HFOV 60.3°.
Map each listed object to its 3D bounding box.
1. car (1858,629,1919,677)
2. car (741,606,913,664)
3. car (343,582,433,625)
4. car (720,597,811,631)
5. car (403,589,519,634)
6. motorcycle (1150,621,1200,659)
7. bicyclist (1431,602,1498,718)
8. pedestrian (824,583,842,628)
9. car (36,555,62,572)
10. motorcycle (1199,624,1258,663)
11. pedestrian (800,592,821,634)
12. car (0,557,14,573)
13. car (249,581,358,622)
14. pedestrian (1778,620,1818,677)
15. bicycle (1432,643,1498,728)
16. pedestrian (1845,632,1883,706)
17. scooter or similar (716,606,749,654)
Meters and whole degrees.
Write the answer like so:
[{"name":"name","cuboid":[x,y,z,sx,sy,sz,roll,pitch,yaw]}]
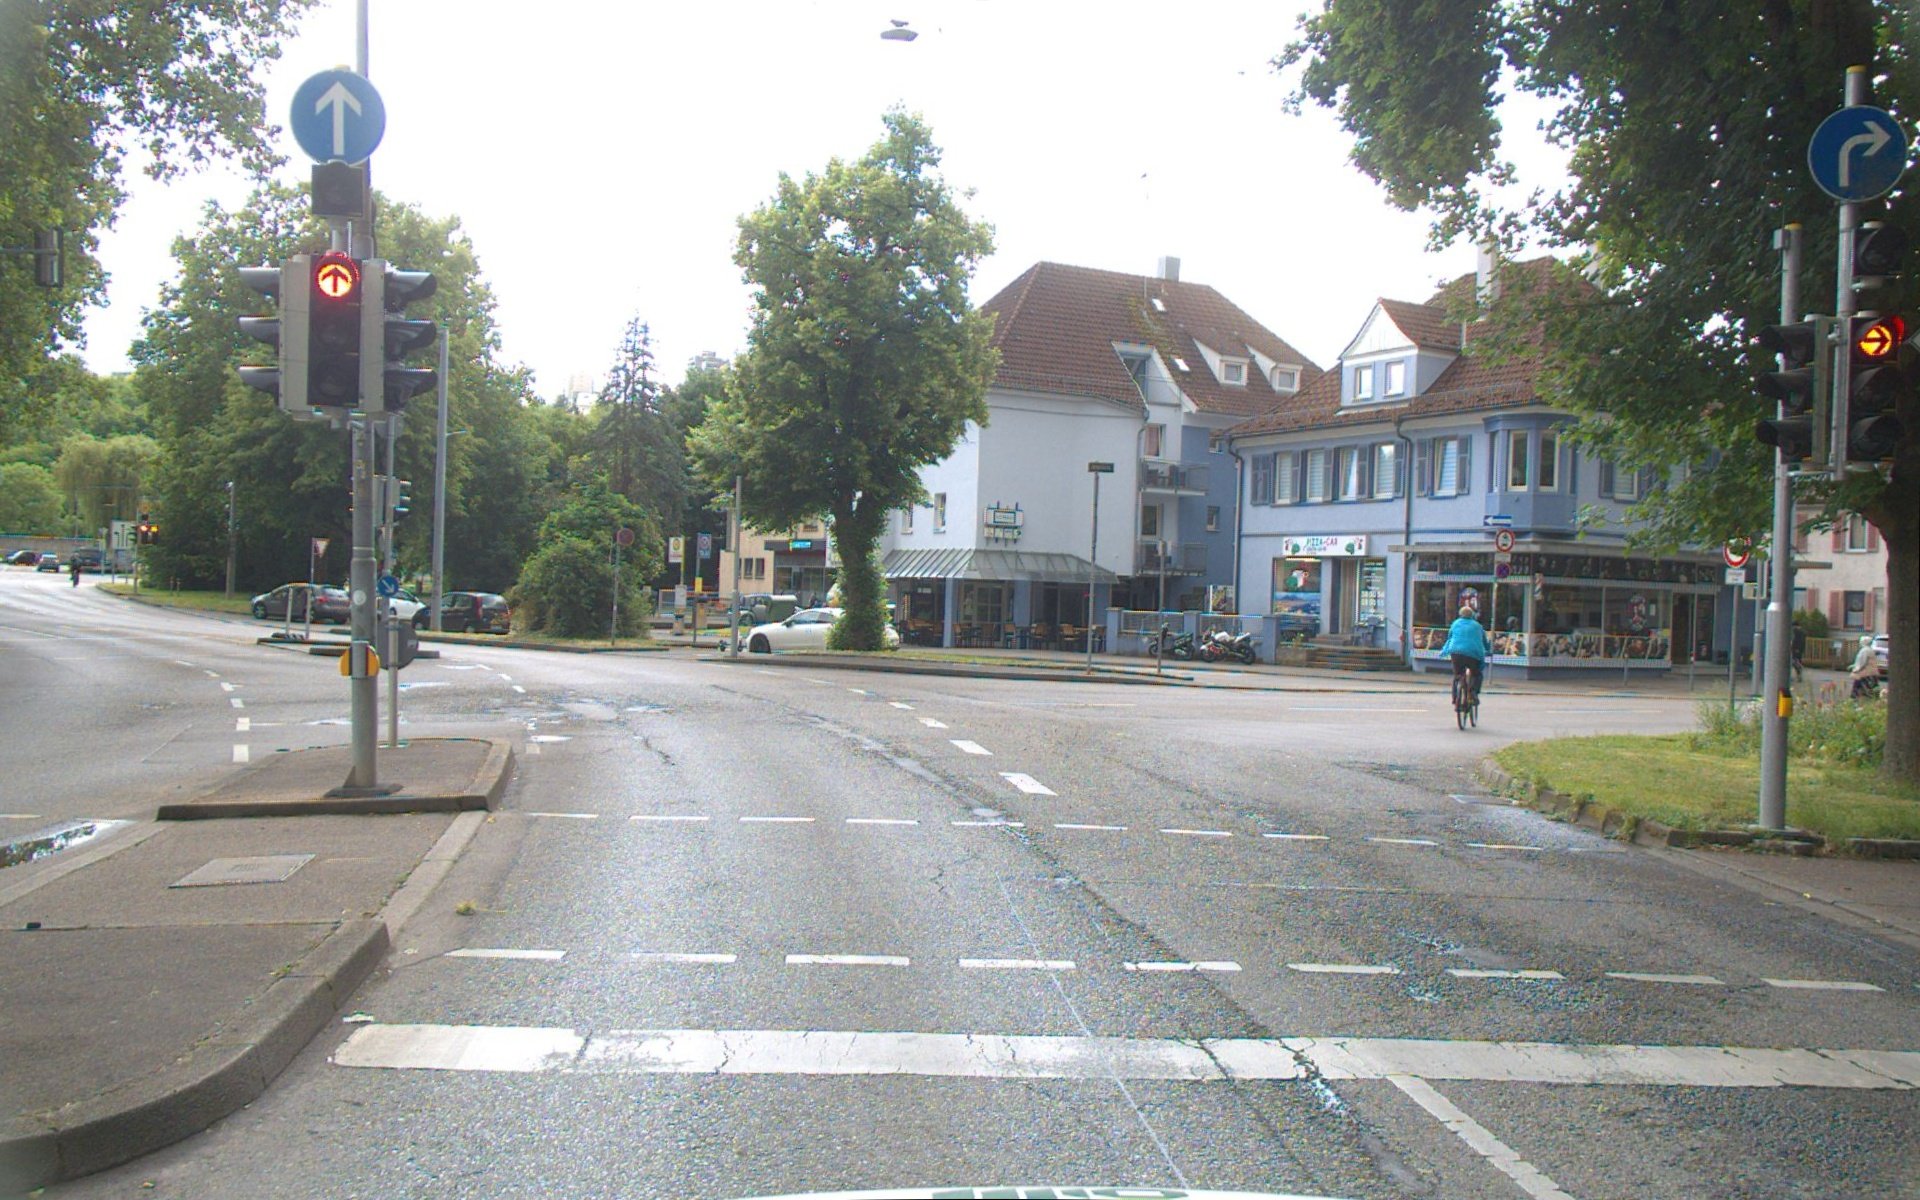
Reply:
[{"name":"car","cuboid":[29.460,1.650,52.247,1.849,1.415,3.609,1,0,28]},{"name":"car","cuboid":[-3.745,0.956,46.091,4.618,1.435,1.896,1,0,35]},{"name":"car","cuboid":[-23.033,0.147,66.725,1.821,1.668,3.757,1,0,10]},{"name":"car","cuboid":[-8.920,0.624,75.864,3.880,1.467,1.742,1,0,-21]},{"name":"car","cuboid":[-16.159,0.360,53.615,3.252,1.376,1.778,1,0,26]},{"name":"motorcycle","cuboid":[6.582,1.228,50.664,1.430,1.107,0.522,1,0,35]},{"name":"bicyclist","cuboid":[7.587,0.885,24.839,0.896,1.680,0.989,1,0,19]},{"name":"pedestrian","cuboid":[-4.575,0.196,59.488,0.531,1.587,0.468,0,-1,13]},{"name":"car","cuboid":[-90.832,-3.620,164.925,1.975,1.624,3.955,1,-1,-32]},{"name":"motorcycle","cuboid":[7.943,1.283,48.921,1.595,1.107,0.625,1,0,31]},{"name":"pedestrian","cuboid":[-7.354,0.621,81.360,0.823,2.049,1.052,1,0,-15]},{"name":"car","cuboid":[-89.166,-3.224,153.466,2.971,1.442,1.492,1,-2,41]},{"name":"car","cuboid":[-25.296,0.043,63.732,3.695,1.491,1.622,1,0,18]},{"name":"pedestrian","cuboid":[23.760,1.370,46.894,0.659,1.587,0.743,1,-1,-15]},{"name":"bicycle","cuboid":[7.635,1.270,24.963,0.855,1.169,1.953,1,0,19]},{"name":"pedestrian","cuboid":[19.880,1.499,36.360,0.717,1.587,0.767,1,-1,30]},{"name":"scooter or similar","cuboid":[-5.900,0.766,42.907,0.433,1.195,1.439,1,0,8]}]
